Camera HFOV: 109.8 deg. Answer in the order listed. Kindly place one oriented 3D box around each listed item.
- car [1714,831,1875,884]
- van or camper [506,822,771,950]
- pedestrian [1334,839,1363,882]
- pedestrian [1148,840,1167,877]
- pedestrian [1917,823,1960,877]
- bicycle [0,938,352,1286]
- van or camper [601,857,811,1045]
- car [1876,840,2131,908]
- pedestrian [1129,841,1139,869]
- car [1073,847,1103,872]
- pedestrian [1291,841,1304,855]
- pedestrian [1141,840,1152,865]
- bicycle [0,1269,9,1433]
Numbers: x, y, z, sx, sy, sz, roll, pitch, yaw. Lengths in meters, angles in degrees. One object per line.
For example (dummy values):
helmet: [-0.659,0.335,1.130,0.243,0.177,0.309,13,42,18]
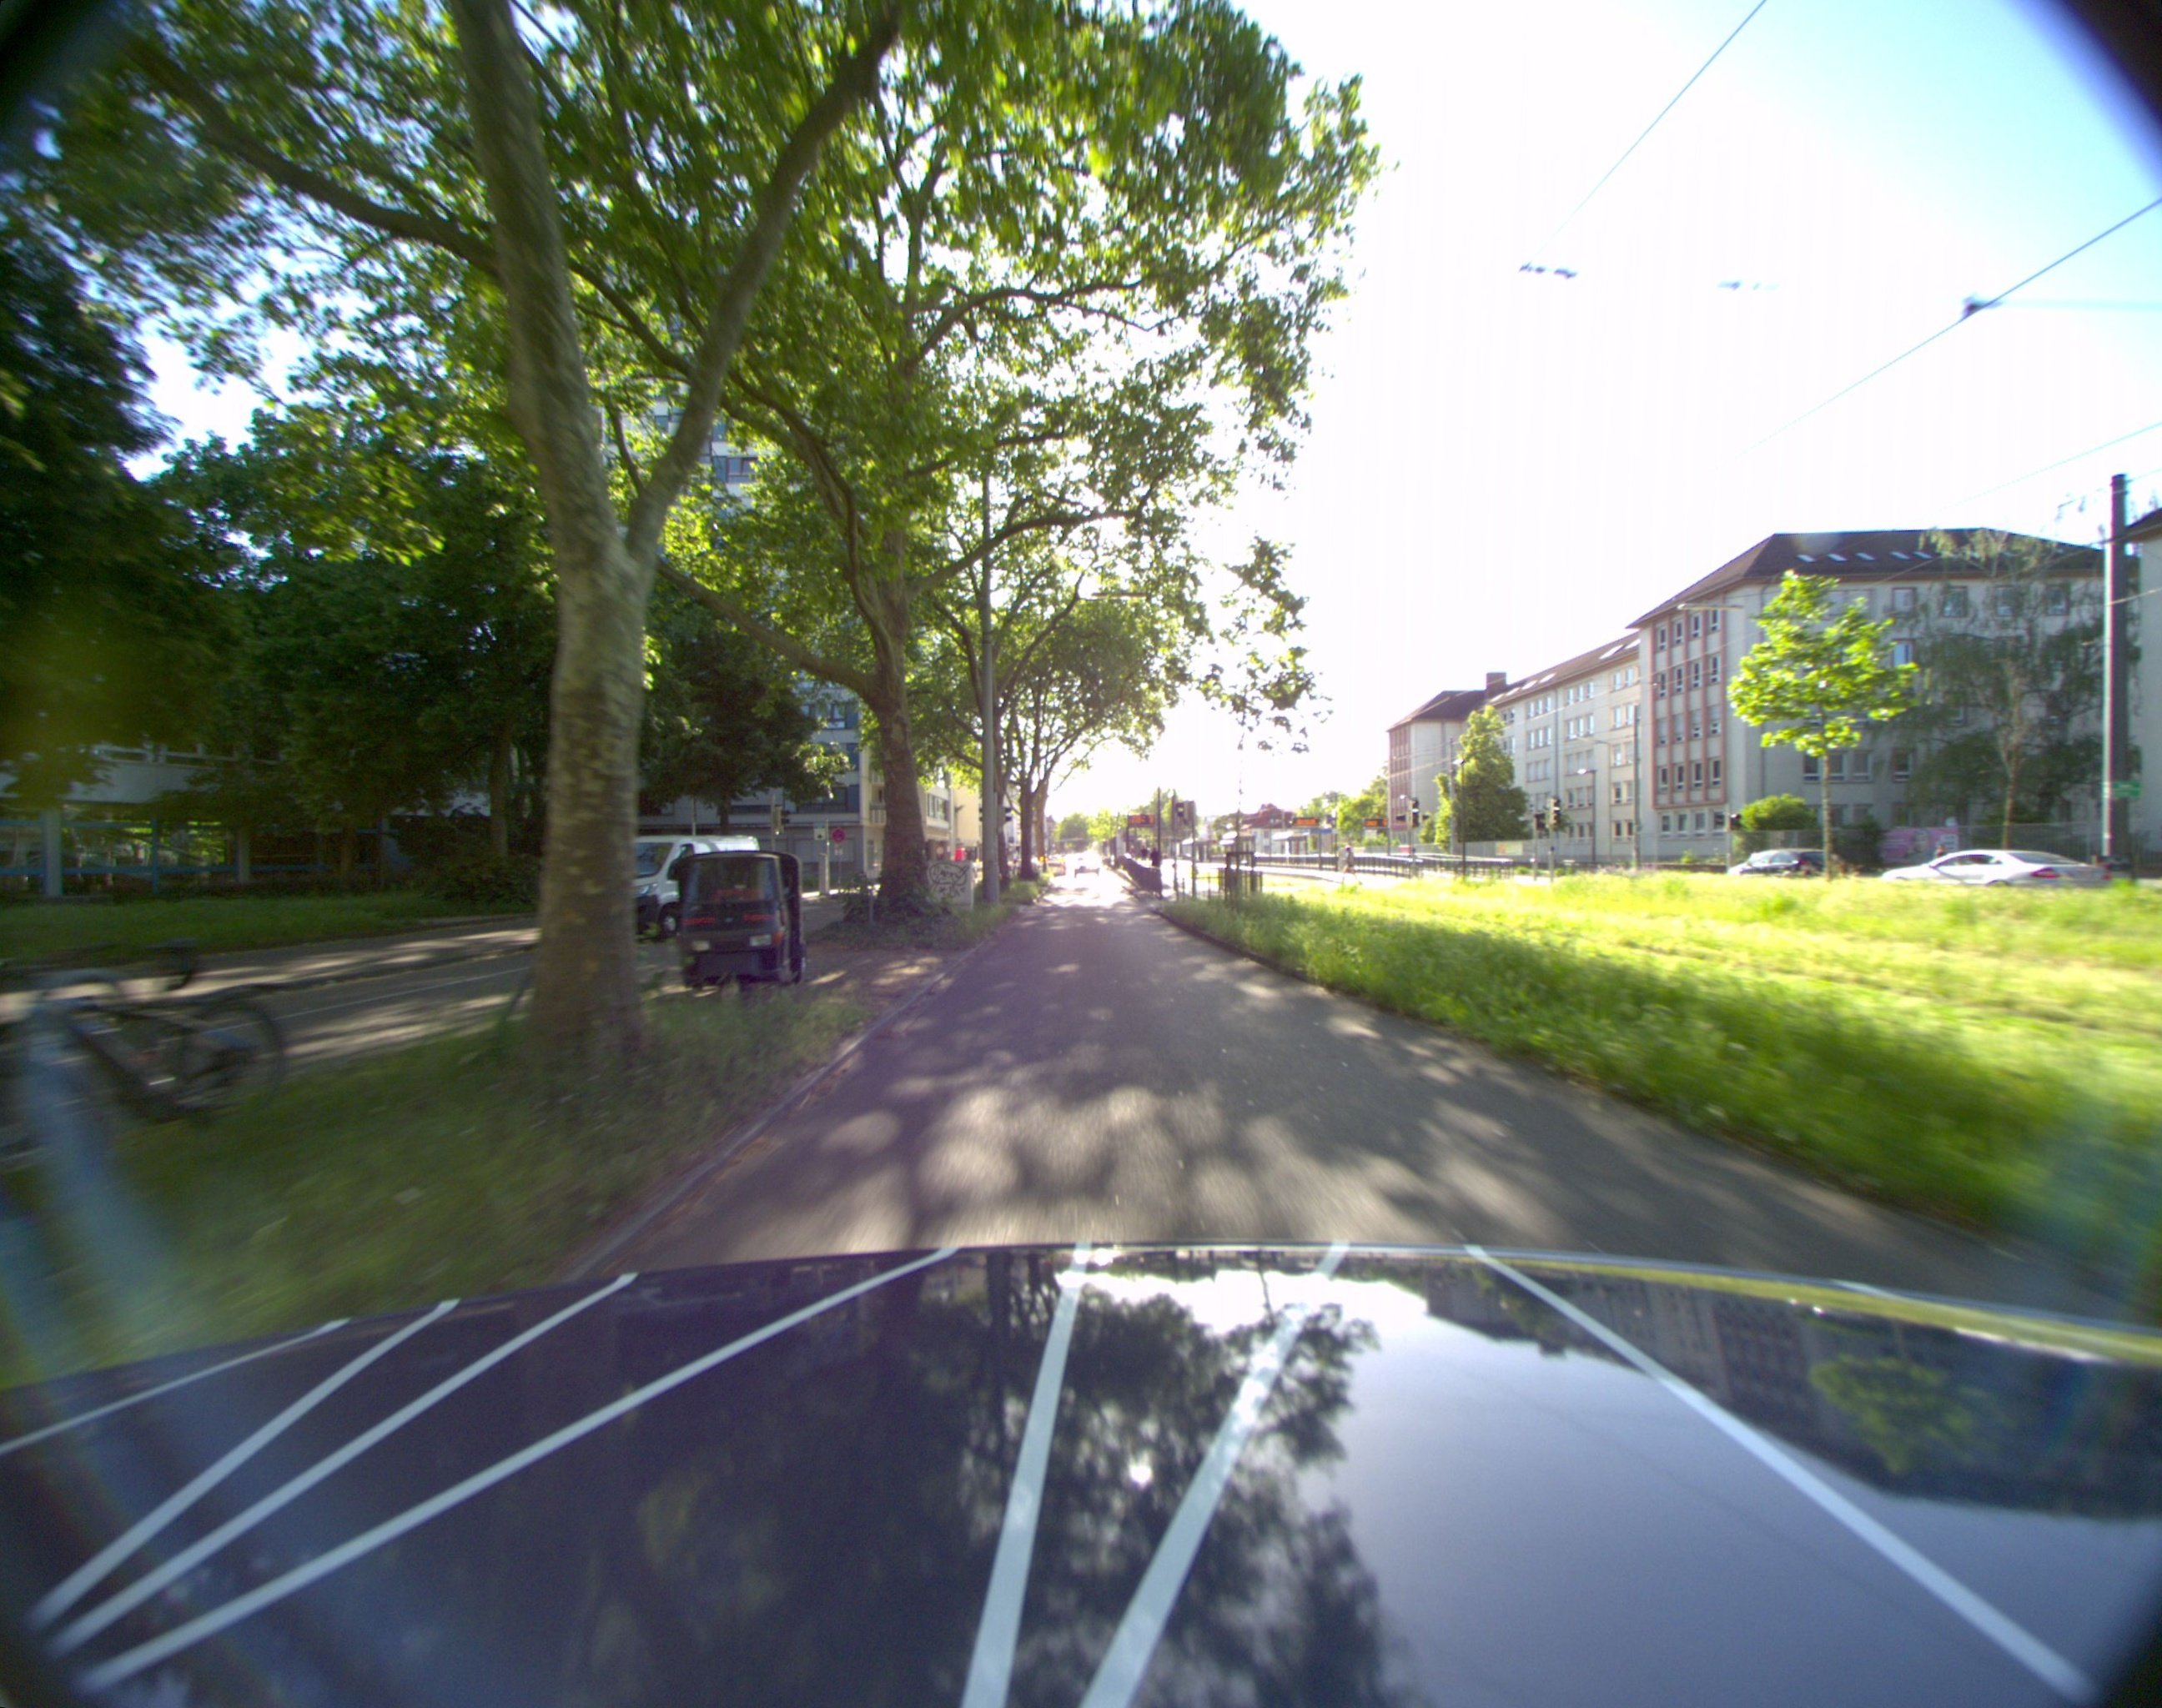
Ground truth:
car: [25.068,0.095,26.942,1.998,1.697,4.150,-1,1,4]
van or camper: [-9.202,0.537,16.678,2.297,2.273,5.822,-1,1,0]
pedestrian: [10.880,0.247,30.920,0.955,1.726,0.730,-1,1,3]
pedestrian: [3.510,0.194,34.926,0.714,1.671,0.772,-2,1,-1]
pedestrian: [32.581,-0.140,28.893,0.664,2.002,0.860,-1,1,0]
bicycle: [-4.416,1.033,3.349,0.760,1.072,1.885,-1,1,-9]
van or camper: [-3.817,0.854,8.177,1.506,1.579,2.836,-1,1,-16]
car: [24.431,0.469,20.446,1.769,1.613,4.477,-1,1,7]
pedestrian: [3.956,0.065,56.521,0.669,2.002,0.716,-2,1,2]
car: [0.533,0.349,54.303,1.979,1.660,4.620,-2,1,2]
pedestrian: [20.615,-0.573,72.451,0.977,1.368,0.879,-2,1,0]
pedestrian: [4.711,-0.085,54.961,0.683,1.773,0.754,-2,1,2]
bicycle: [-3.870,0.979,1.641,2.075,1.118,0.676,-1,1,0]
